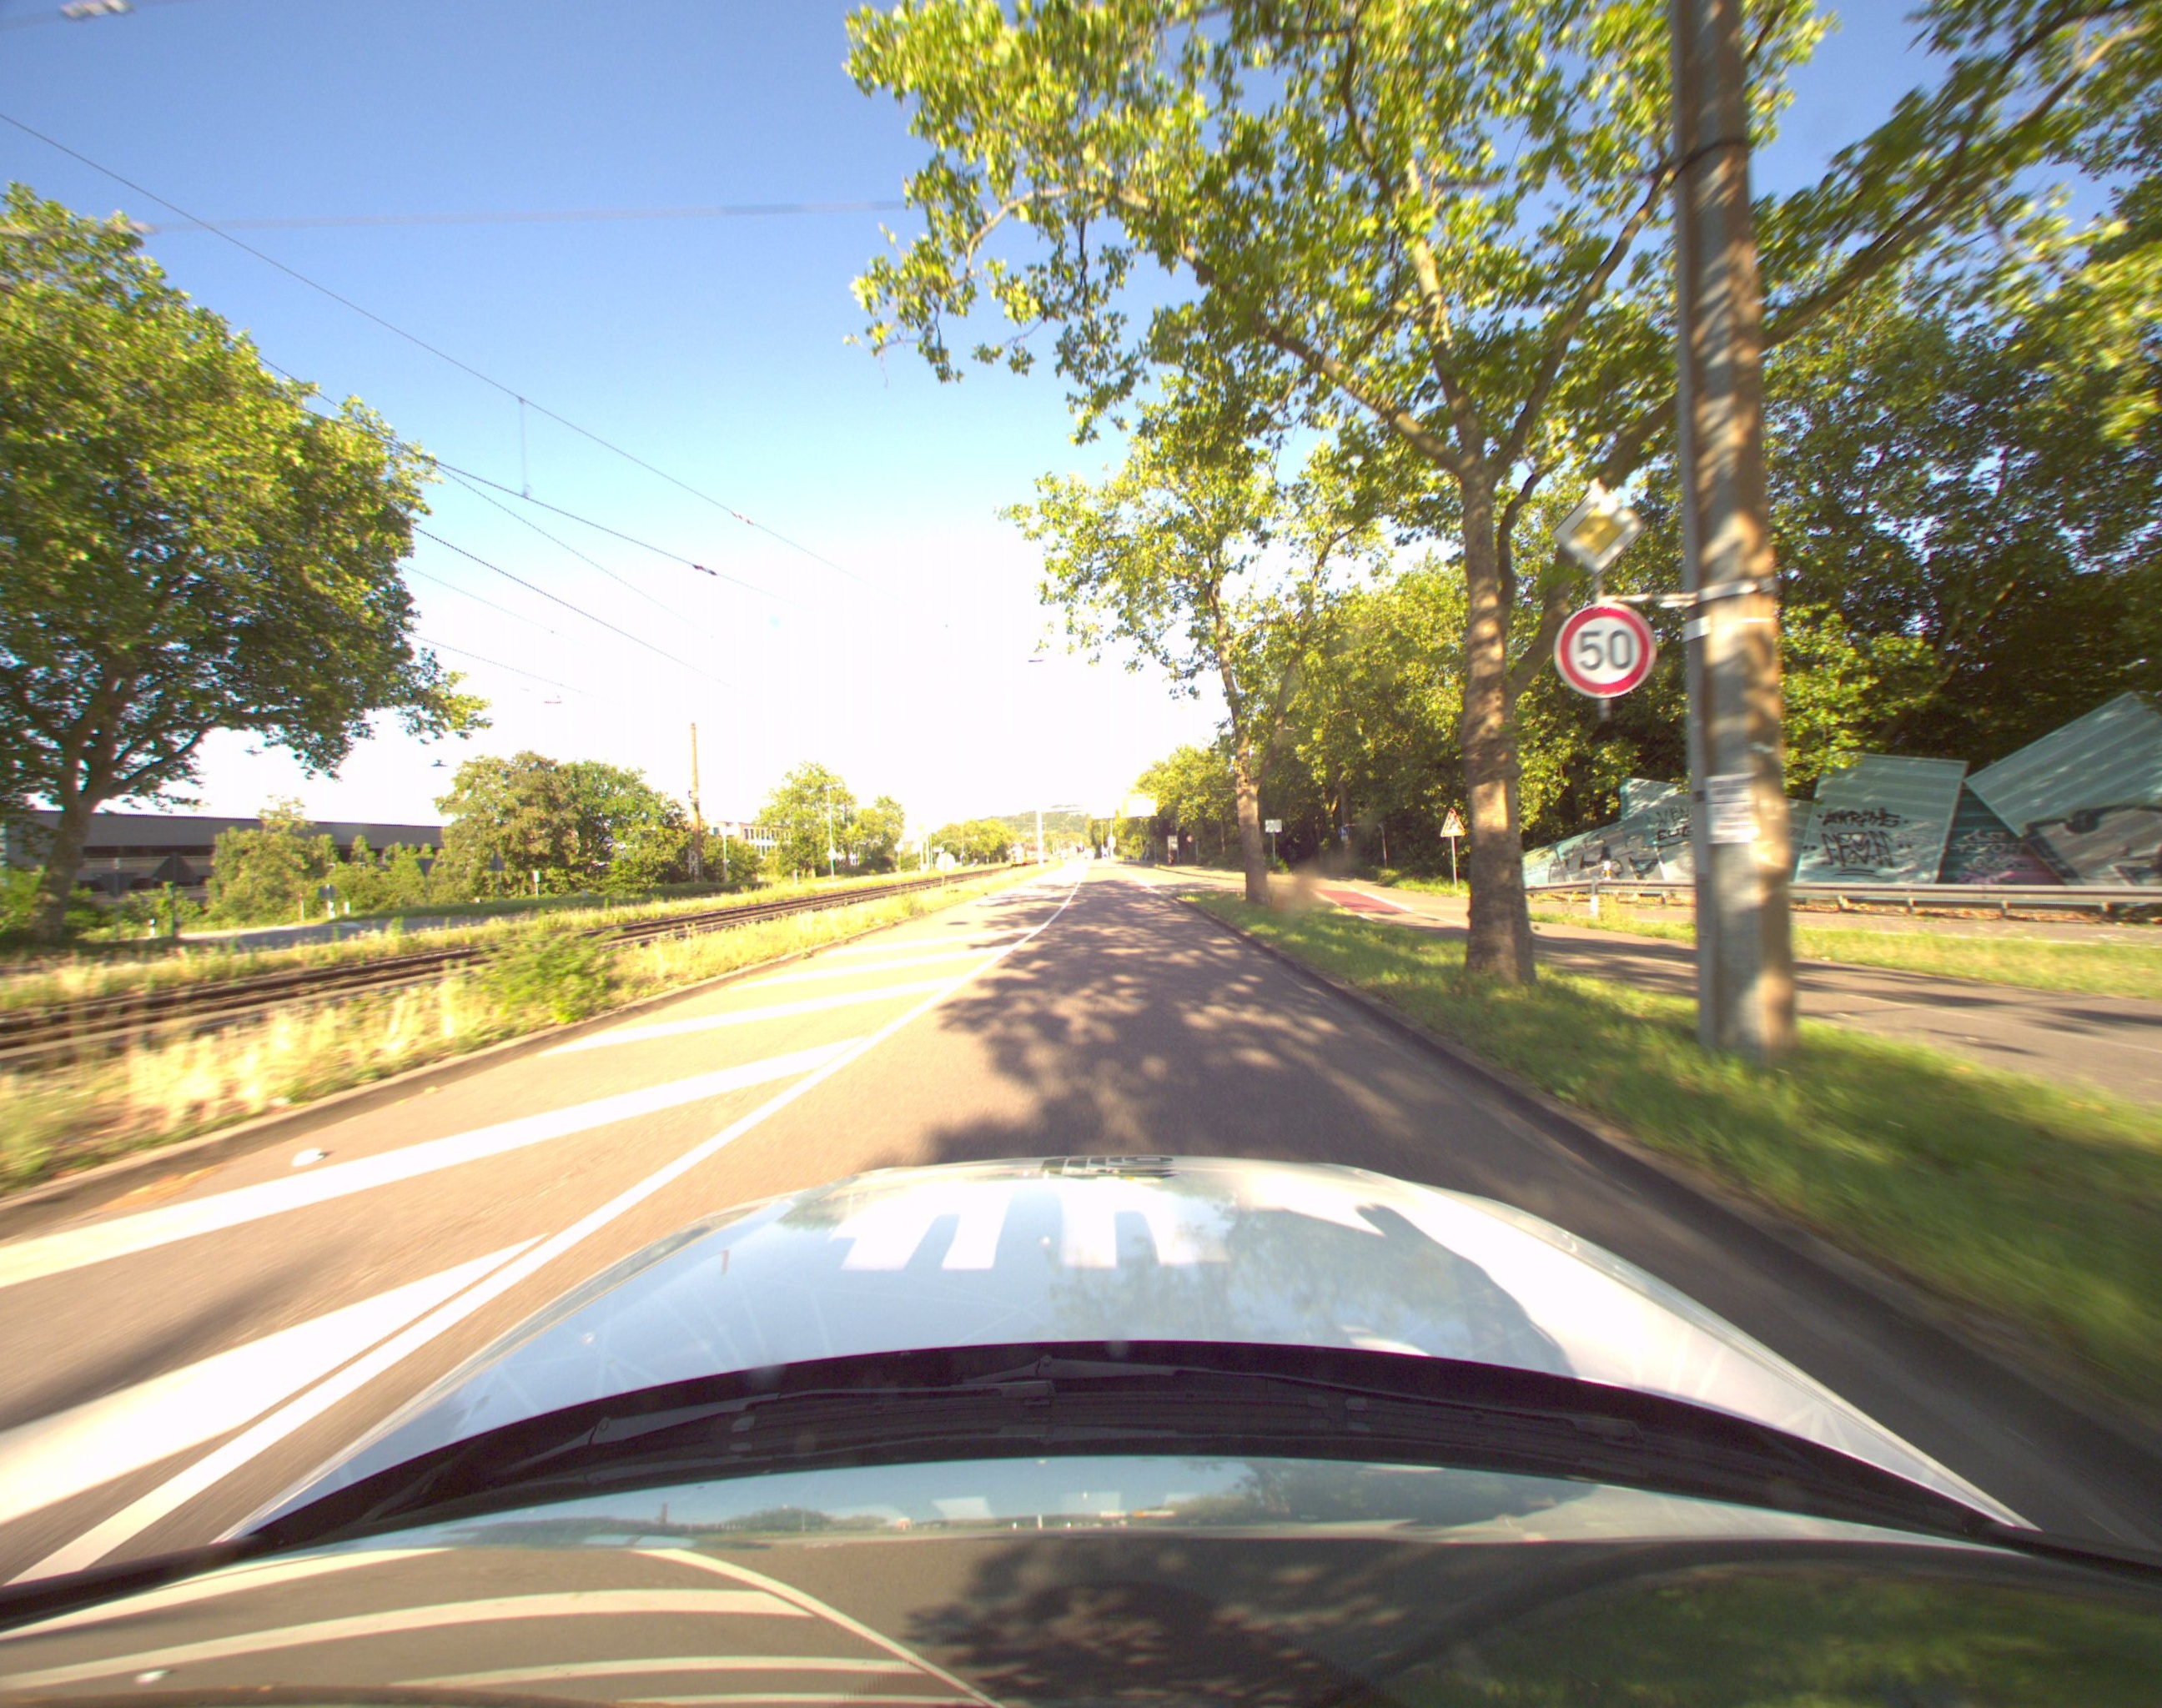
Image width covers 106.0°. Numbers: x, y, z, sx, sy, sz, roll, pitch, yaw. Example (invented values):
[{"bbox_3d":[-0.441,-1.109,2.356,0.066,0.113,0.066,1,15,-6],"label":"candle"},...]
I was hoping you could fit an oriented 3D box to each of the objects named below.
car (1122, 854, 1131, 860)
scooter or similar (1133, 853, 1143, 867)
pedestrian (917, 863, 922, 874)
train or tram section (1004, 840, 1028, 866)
[{"bbox_3d":[12.080,0.876,215.813,2.075,1.566,3.962,-1,0,7],"label":"car"},{"bbox_3d":[11.404,1.176,162.179,1.675,2.715,4.869,-2,0,1],"label":"scooter or similar"},{"bbox_3d":[-27.546,2.487,138.678,0.535,1.821,0.654,-1,-1,23],"label":"pedestrian"},{"bbox_3d":[-10.228,-0.137,129.301,2.795,3.902,12.330,-1,0,0],"label":"train or tram section"}]
